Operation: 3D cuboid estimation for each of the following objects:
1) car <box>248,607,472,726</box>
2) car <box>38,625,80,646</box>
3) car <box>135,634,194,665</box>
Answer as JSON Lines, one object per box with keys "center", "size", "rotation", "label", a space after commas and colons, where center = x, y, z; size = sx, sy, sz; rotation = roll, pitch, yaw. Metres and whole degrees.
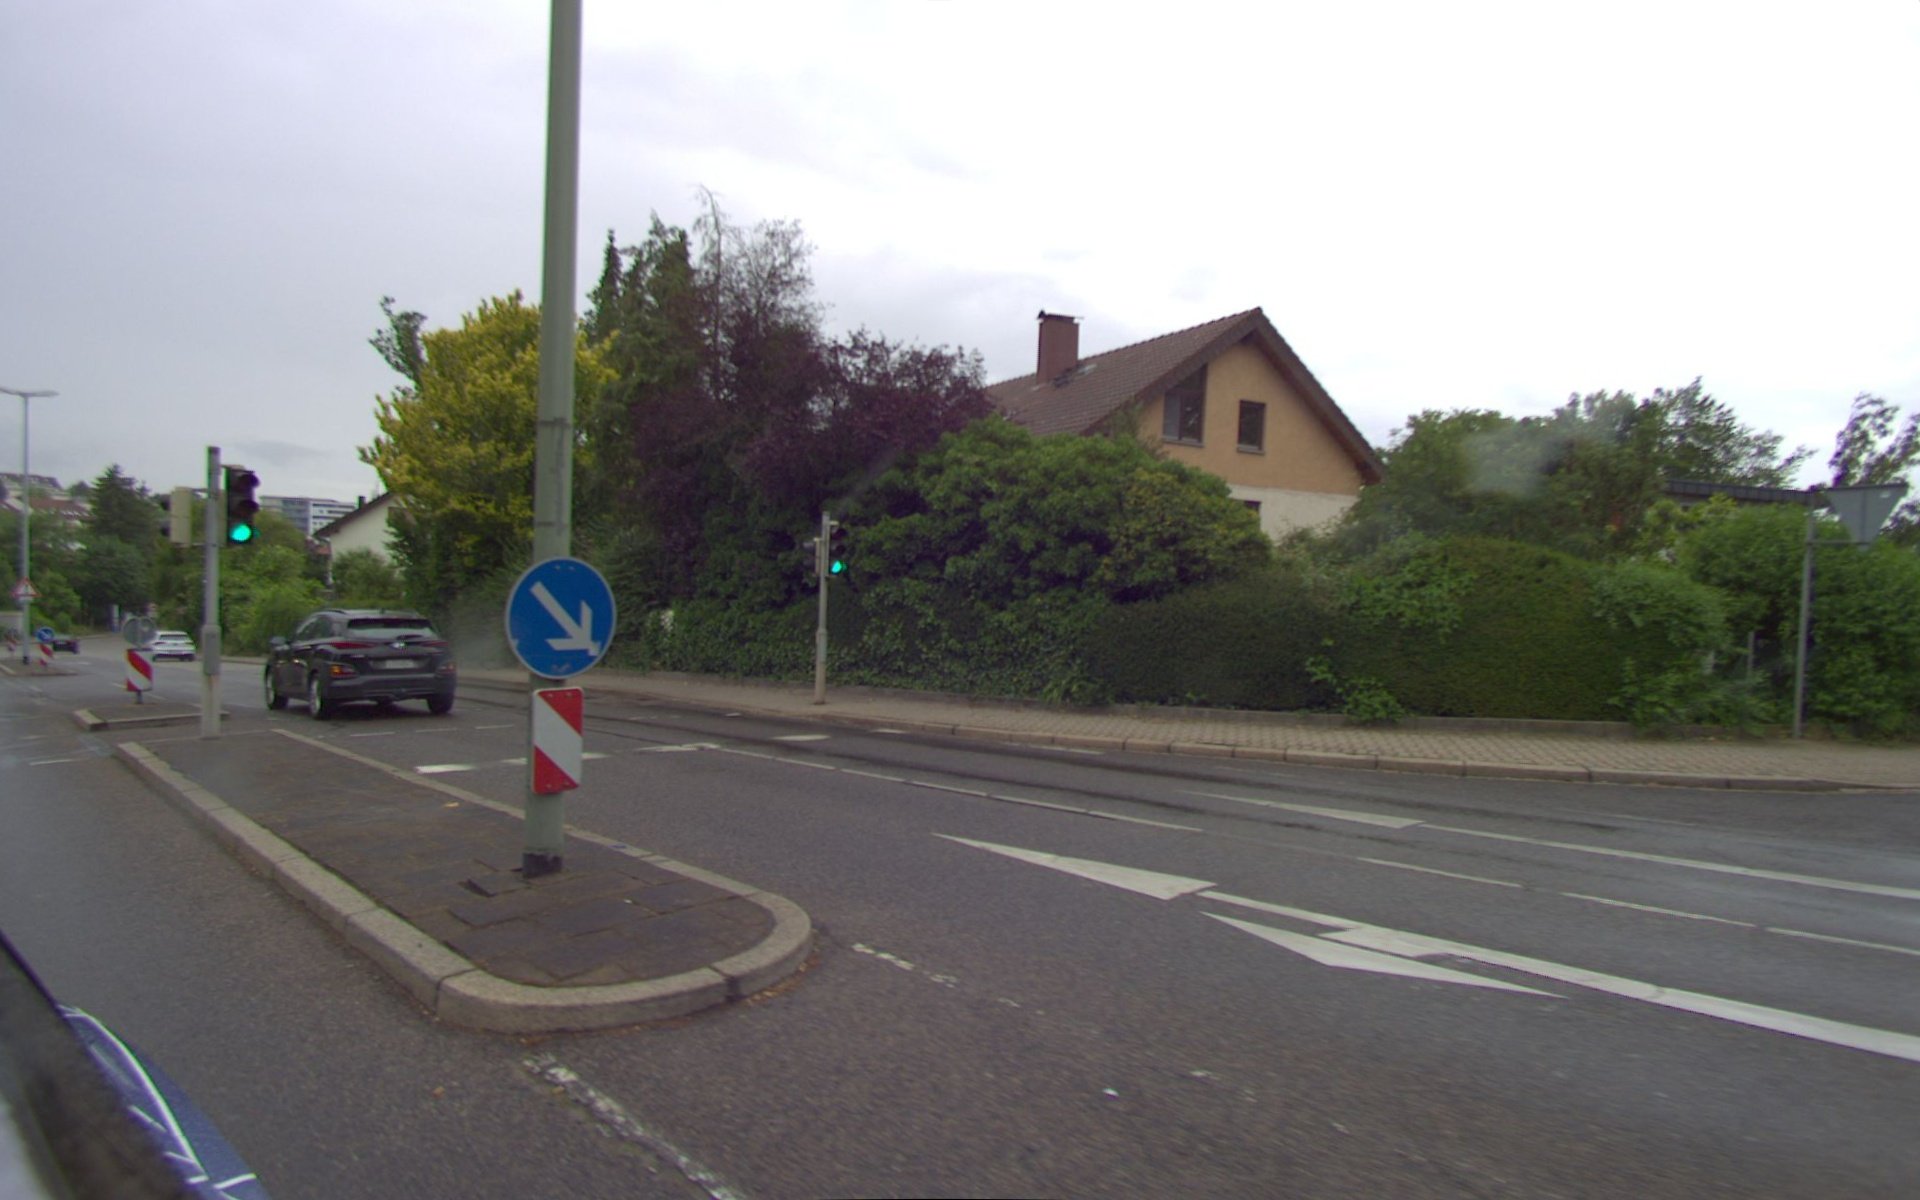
{"center": [-9.239, 0.941, 15.479], "size": [3.878, 1.575, 2.002], "rotation": [-1, -3, 45], "label": "car"}
{"center": [-67.119, 2.640, 75.452], "size": [1.837, 1.504, 3.843], "rotation": [1, -3, -34], "label": "car"}
{"center": [-38.926, 2.409, 49.500], "size": [4.158, 1.497, 1.708], "rotation": [-2, -4, 45], "label": "car"}
